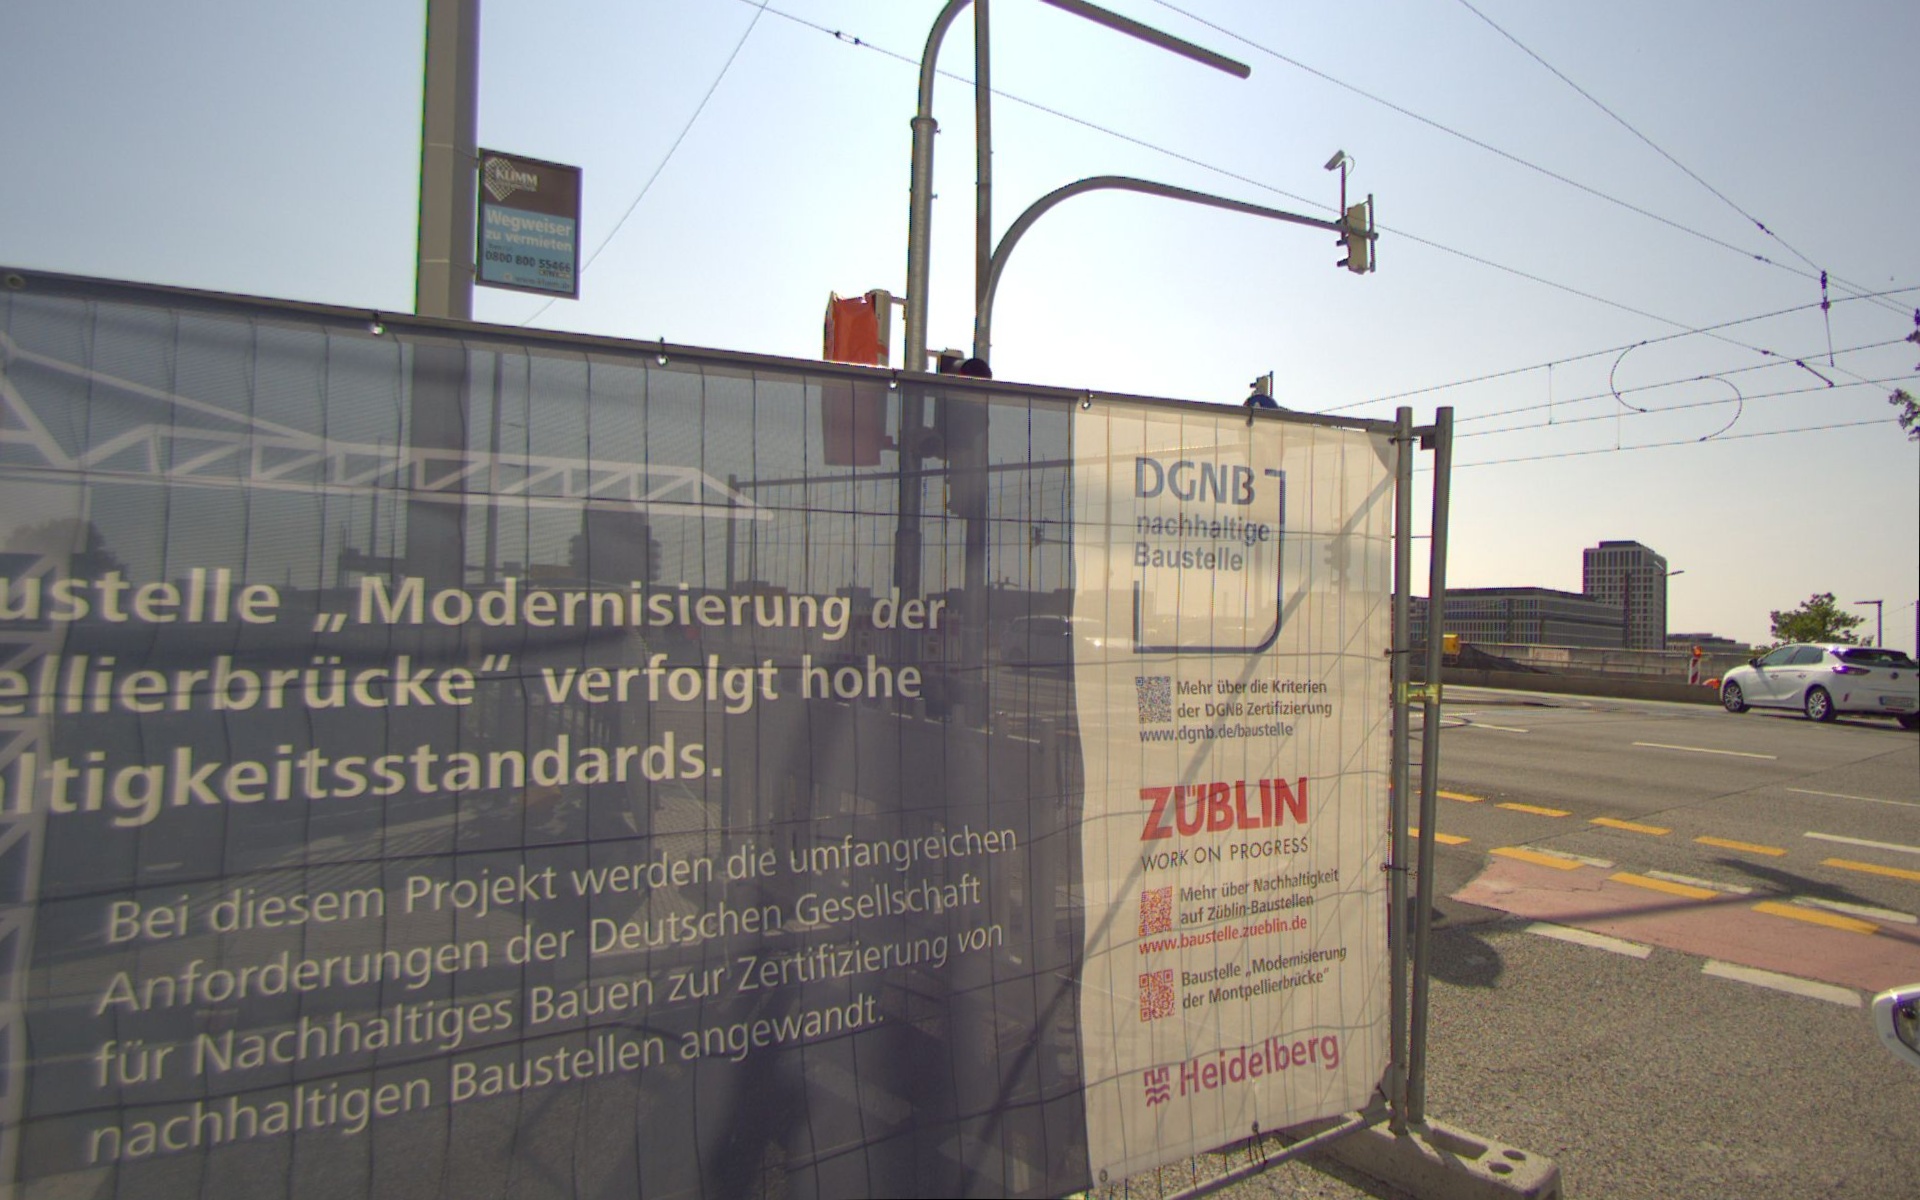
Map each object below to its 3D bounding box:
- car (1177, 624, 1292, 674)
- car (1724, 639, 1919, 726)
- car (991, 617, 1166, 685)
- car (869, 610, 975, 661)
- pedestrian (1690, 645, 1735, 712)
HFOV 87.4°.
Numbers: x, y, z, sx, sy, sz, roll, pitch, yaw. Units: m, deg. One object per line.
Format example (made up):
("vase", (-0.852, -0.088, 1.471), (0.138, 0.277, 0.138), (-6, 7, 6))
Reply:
("car", (9.684, 1.708, 35.639), (1.706, 1.552, 3.661), (5, -2, -35))
("car", (16.447, 1.521, 19.092), (1.688, 1.423, 3.415), (3, -2, 11))
("car", (2.816, 1.190, 24.866), (1.627, 1.456, 4.596), (1, -1, -36))
("car", (-1.256, 1.082, 31.233), (1.522, 1.456, 3.945), (2, -1, -32))
("pedestrian", (21.101, 2.183, 28.177), (0.848, 1.819, 0.821), (1, -1, 26))
